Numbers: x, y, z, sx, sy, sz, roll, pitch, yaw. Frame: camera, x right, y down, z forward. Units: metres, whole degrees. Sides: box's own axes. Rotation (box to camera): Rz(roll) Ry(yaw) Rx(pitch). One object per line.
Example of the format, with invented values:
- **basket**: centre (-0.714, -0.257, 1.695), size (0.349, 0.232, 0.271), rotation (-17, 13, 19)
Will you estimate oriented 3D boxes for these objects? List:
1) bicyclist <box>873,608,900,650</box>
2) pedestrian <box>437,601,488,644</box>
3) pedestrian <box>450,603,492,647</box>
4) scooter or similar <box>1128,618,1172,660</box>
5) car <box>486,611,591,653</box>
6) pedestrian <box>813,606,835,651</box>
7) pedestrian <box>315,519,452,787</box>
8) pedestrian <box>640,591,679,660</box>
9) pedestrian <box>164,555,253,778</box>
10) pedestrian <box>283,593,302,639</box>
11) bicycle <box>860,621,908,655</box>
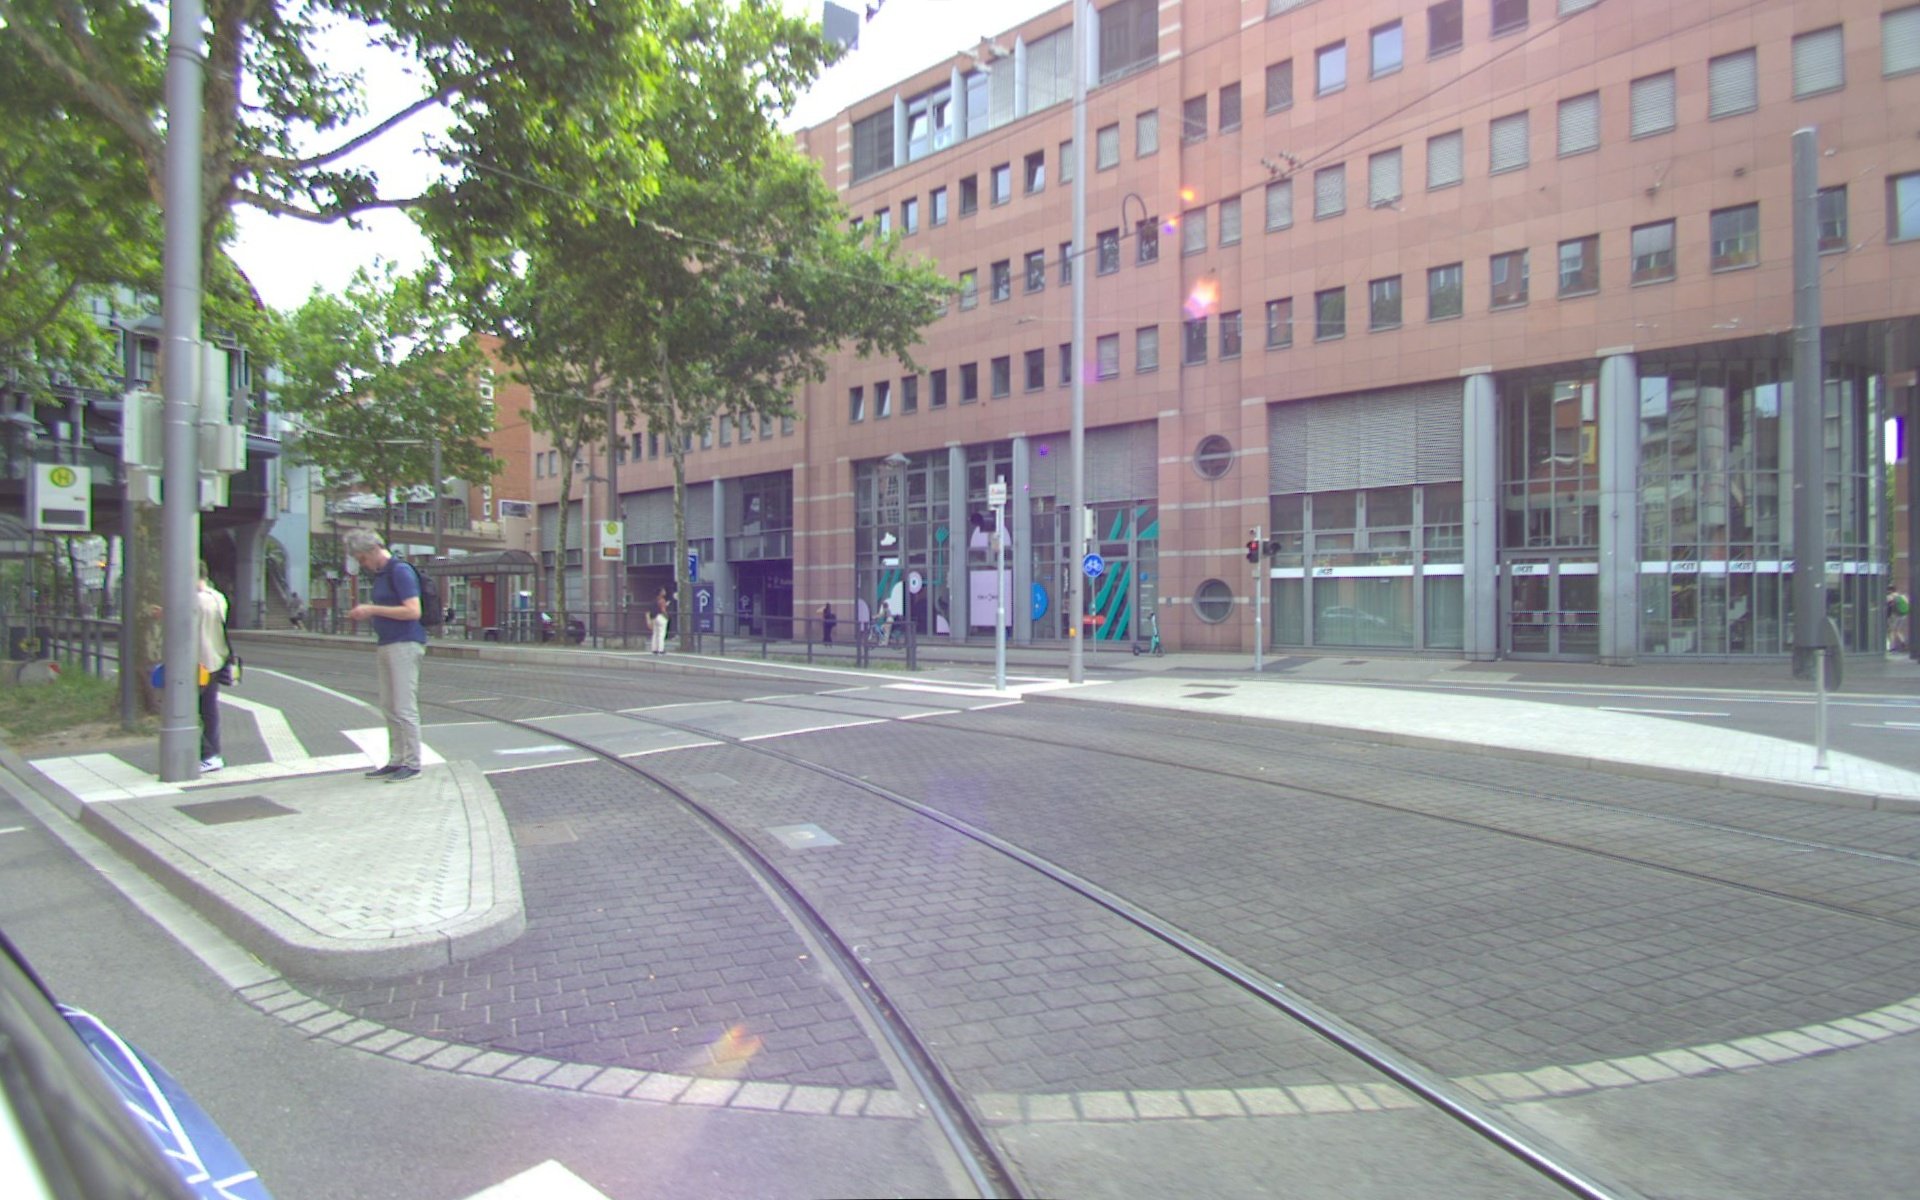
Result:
- **bicyclist**: centre (-2.462, 0.970, 34.017), size (0.735, 1.391, 0.547), rotation (0, -1, 29)
- **pedestrian**: centre (-25.034, 1.116, 50.918), size (1.672, 2.028, 2.035), rotation (-2, 2, -45)
- **pedestrian**: centre (-23.373, 1.183, 48.391), size (1.409, 2.028, 1.361), rotation (-2, 2, -45)
- **scooter or similar**: centre (5.346, 1.079, 28.503), size (1.111, 1.142, 0.513), rotation (-1, -1, 42)
- **car**: centre (-15.735, 1.164, 37.684), size (4.292, 1.484, 1.844), rotation (-1, -1, 40)
- **pedestrian**: centre (-4.889, 1.003, 36.316), size (0.600, 1.585, 0.522), rotation (0, -1, 41)
- **pedestrian**: centre (-4.371, 0.377, 7.675), size (0.806, 1.889, 0.684), rotation (-1, -1, 42)
- **pedestrian**: centre (-6.974, 0.581, 23.500), size (0.558, 1.549, 0.650), rotation (2, 1, 37)
- **pedestrian**: centre (-6.367, 0.543, 8.601), size (0.526, 1.805, 0.579), rotation (0, -1, -29)
- **pedestrian**: centre (-26.106, 0.617, 39.578), size (0.480, 1.784, 0.476), rotation (0, -1, 34)
- **bicycle**: centre (-2.559, 1.265, 34.066), size (1.583, 1.126, 0.542), rotation (0, -1, 29)
